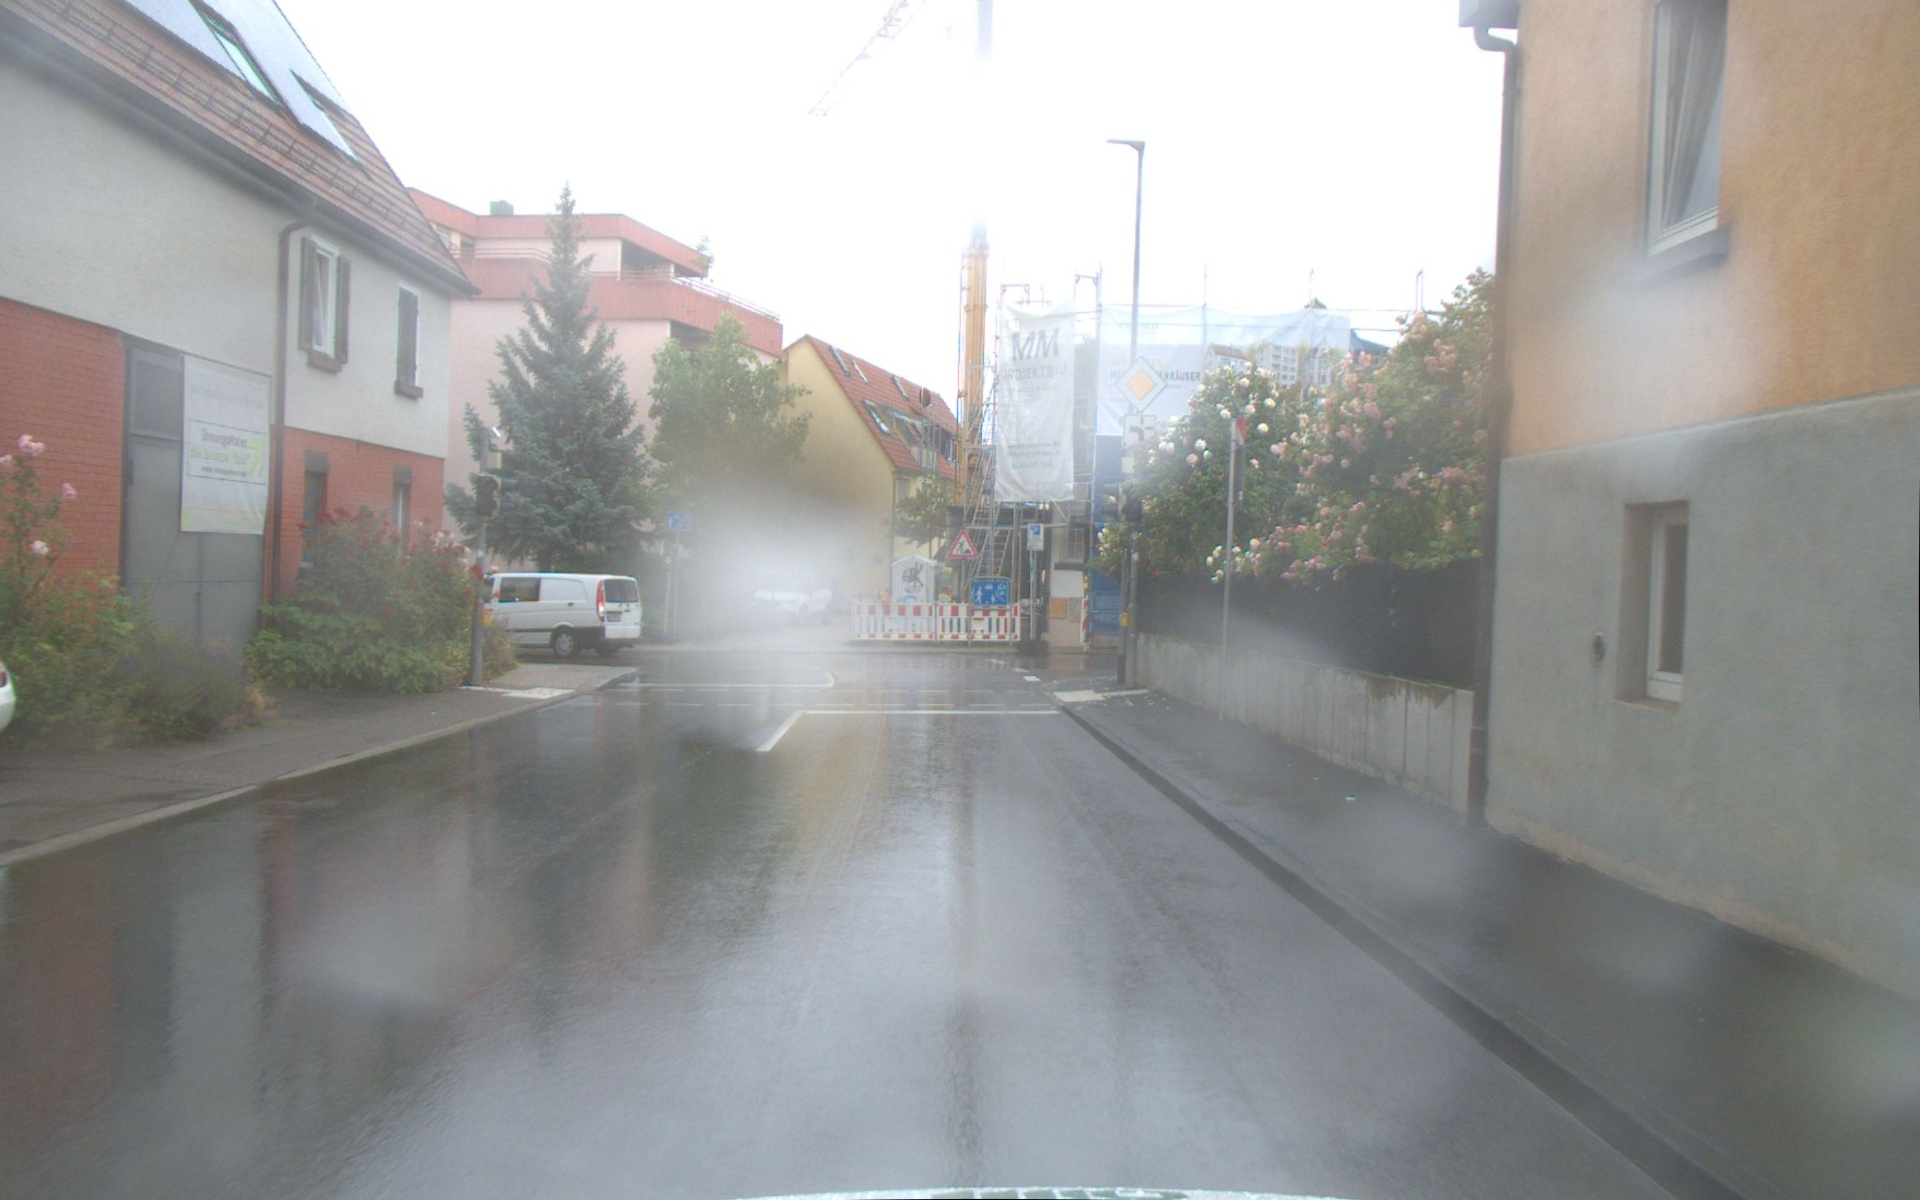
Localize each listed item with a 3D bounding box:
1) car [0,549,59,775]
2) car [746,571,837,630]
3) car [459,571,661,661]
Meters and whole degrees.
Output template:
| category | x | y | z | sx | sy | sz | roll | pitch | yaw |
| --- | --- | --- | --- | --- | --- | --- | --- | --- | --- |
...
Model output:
| category | x | y | z | sx | sy | sz | roll | pitch | yaw |
| --- | --- | --- | --- | --- | --- | --- | --- | --- | --- |
| car | -8.328 | 0.322 | 11.176 | 3.473 | 1.555 | 1.663 | 4 | 0 | -1 |
| car | -5.261 | -0.007 | 52.168 | 1.566 | 1.707 | 3.942 | 3 | 2 | 14 |
| car | -9.104 | 0.354 | 37.700 | 3.905 | 1.902 | 2.188 | 1 | 0 | 22 |
